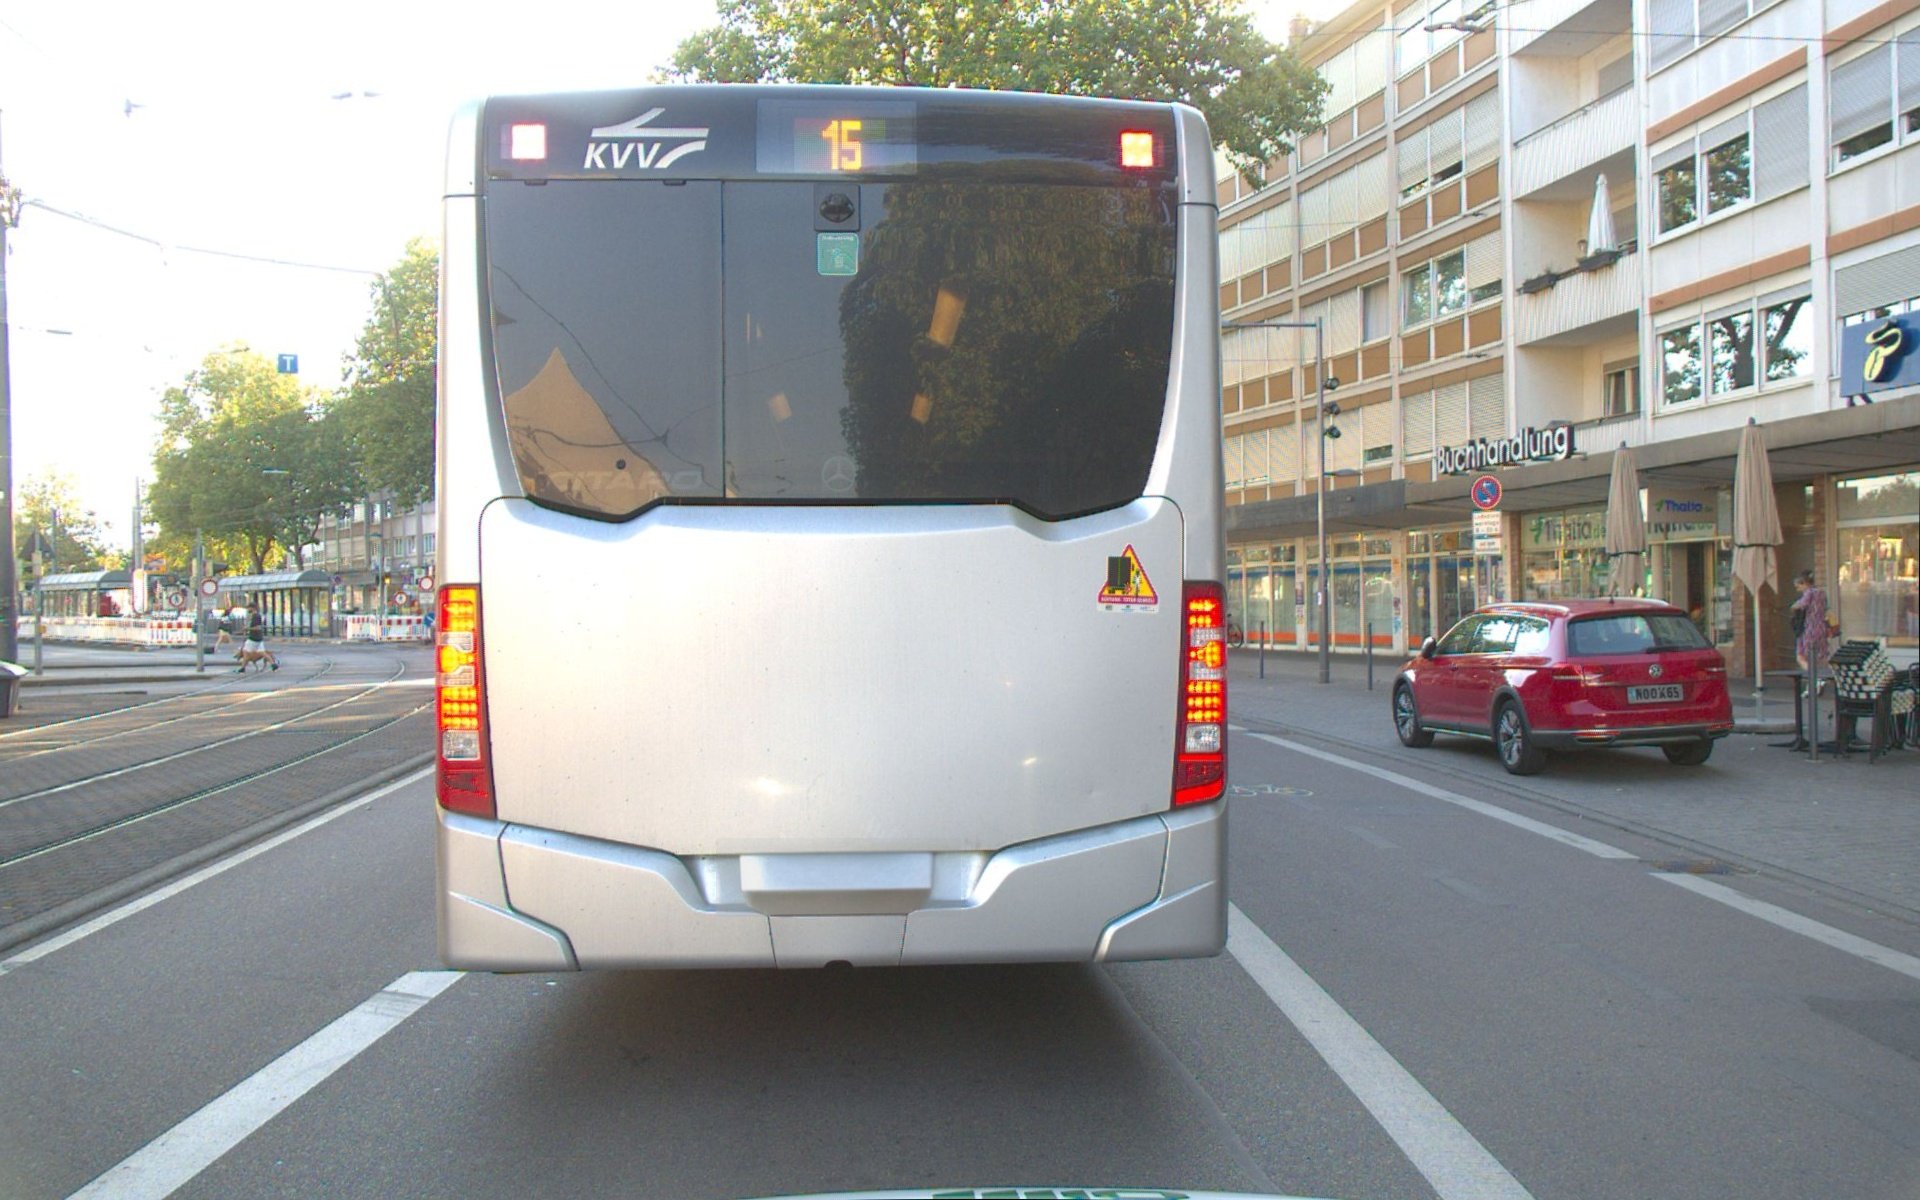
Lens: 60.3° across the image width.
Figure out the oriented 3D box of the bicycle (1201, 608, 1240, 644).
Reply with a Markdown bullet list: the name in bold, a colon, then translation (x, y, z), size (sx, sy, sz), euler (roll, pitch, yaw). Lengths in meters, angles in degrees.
- **bicycle**: translation (7.188, 0.708, 45.760), size (0.406, 0.961, 1.431), euler (-1, 0, -20)

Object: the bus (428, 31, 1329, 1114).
- **bus**: translation (-0.430, -0.064, 9.767), size (2.578, 3.081, 9.992), euler (0, 0, -3)

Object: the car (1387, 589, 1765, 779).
- **car**: translation (5.702, 0.701, 15.946), size (1.735, 1.508, 4.299), euler (-2, 0, -4)

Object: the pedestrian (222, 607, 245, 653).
- **pedestrian**: translation (-26.828, 1.119, 61.050), size (0.653, 1.685, 0.436), euler (-1, -1, -44)

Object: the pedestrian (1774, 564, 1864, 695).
- **pedestrian**: translation (11.028, 0.372, 21.250), size (0.637, 1.620, 0.788), euler (-3, 0, -6)

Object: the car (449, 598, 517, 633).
- **car**: translation (-25.343, 0.808, 87.807), size (1.982, 1.823, 3.940), euler (1, -1, -41)

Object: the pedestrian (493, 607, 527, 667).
- **pedestrian**: translation (-11.259, 0.922, 41.395), size (0.754, 1.475, 0.636), euler (1, -1, -10)

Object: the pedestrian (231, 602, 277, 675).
- **pedestrian**: translation (-17.243, 0.930, 40.398), size (0.878, 1.758, 0.517), euler (-1, 0, 1)
